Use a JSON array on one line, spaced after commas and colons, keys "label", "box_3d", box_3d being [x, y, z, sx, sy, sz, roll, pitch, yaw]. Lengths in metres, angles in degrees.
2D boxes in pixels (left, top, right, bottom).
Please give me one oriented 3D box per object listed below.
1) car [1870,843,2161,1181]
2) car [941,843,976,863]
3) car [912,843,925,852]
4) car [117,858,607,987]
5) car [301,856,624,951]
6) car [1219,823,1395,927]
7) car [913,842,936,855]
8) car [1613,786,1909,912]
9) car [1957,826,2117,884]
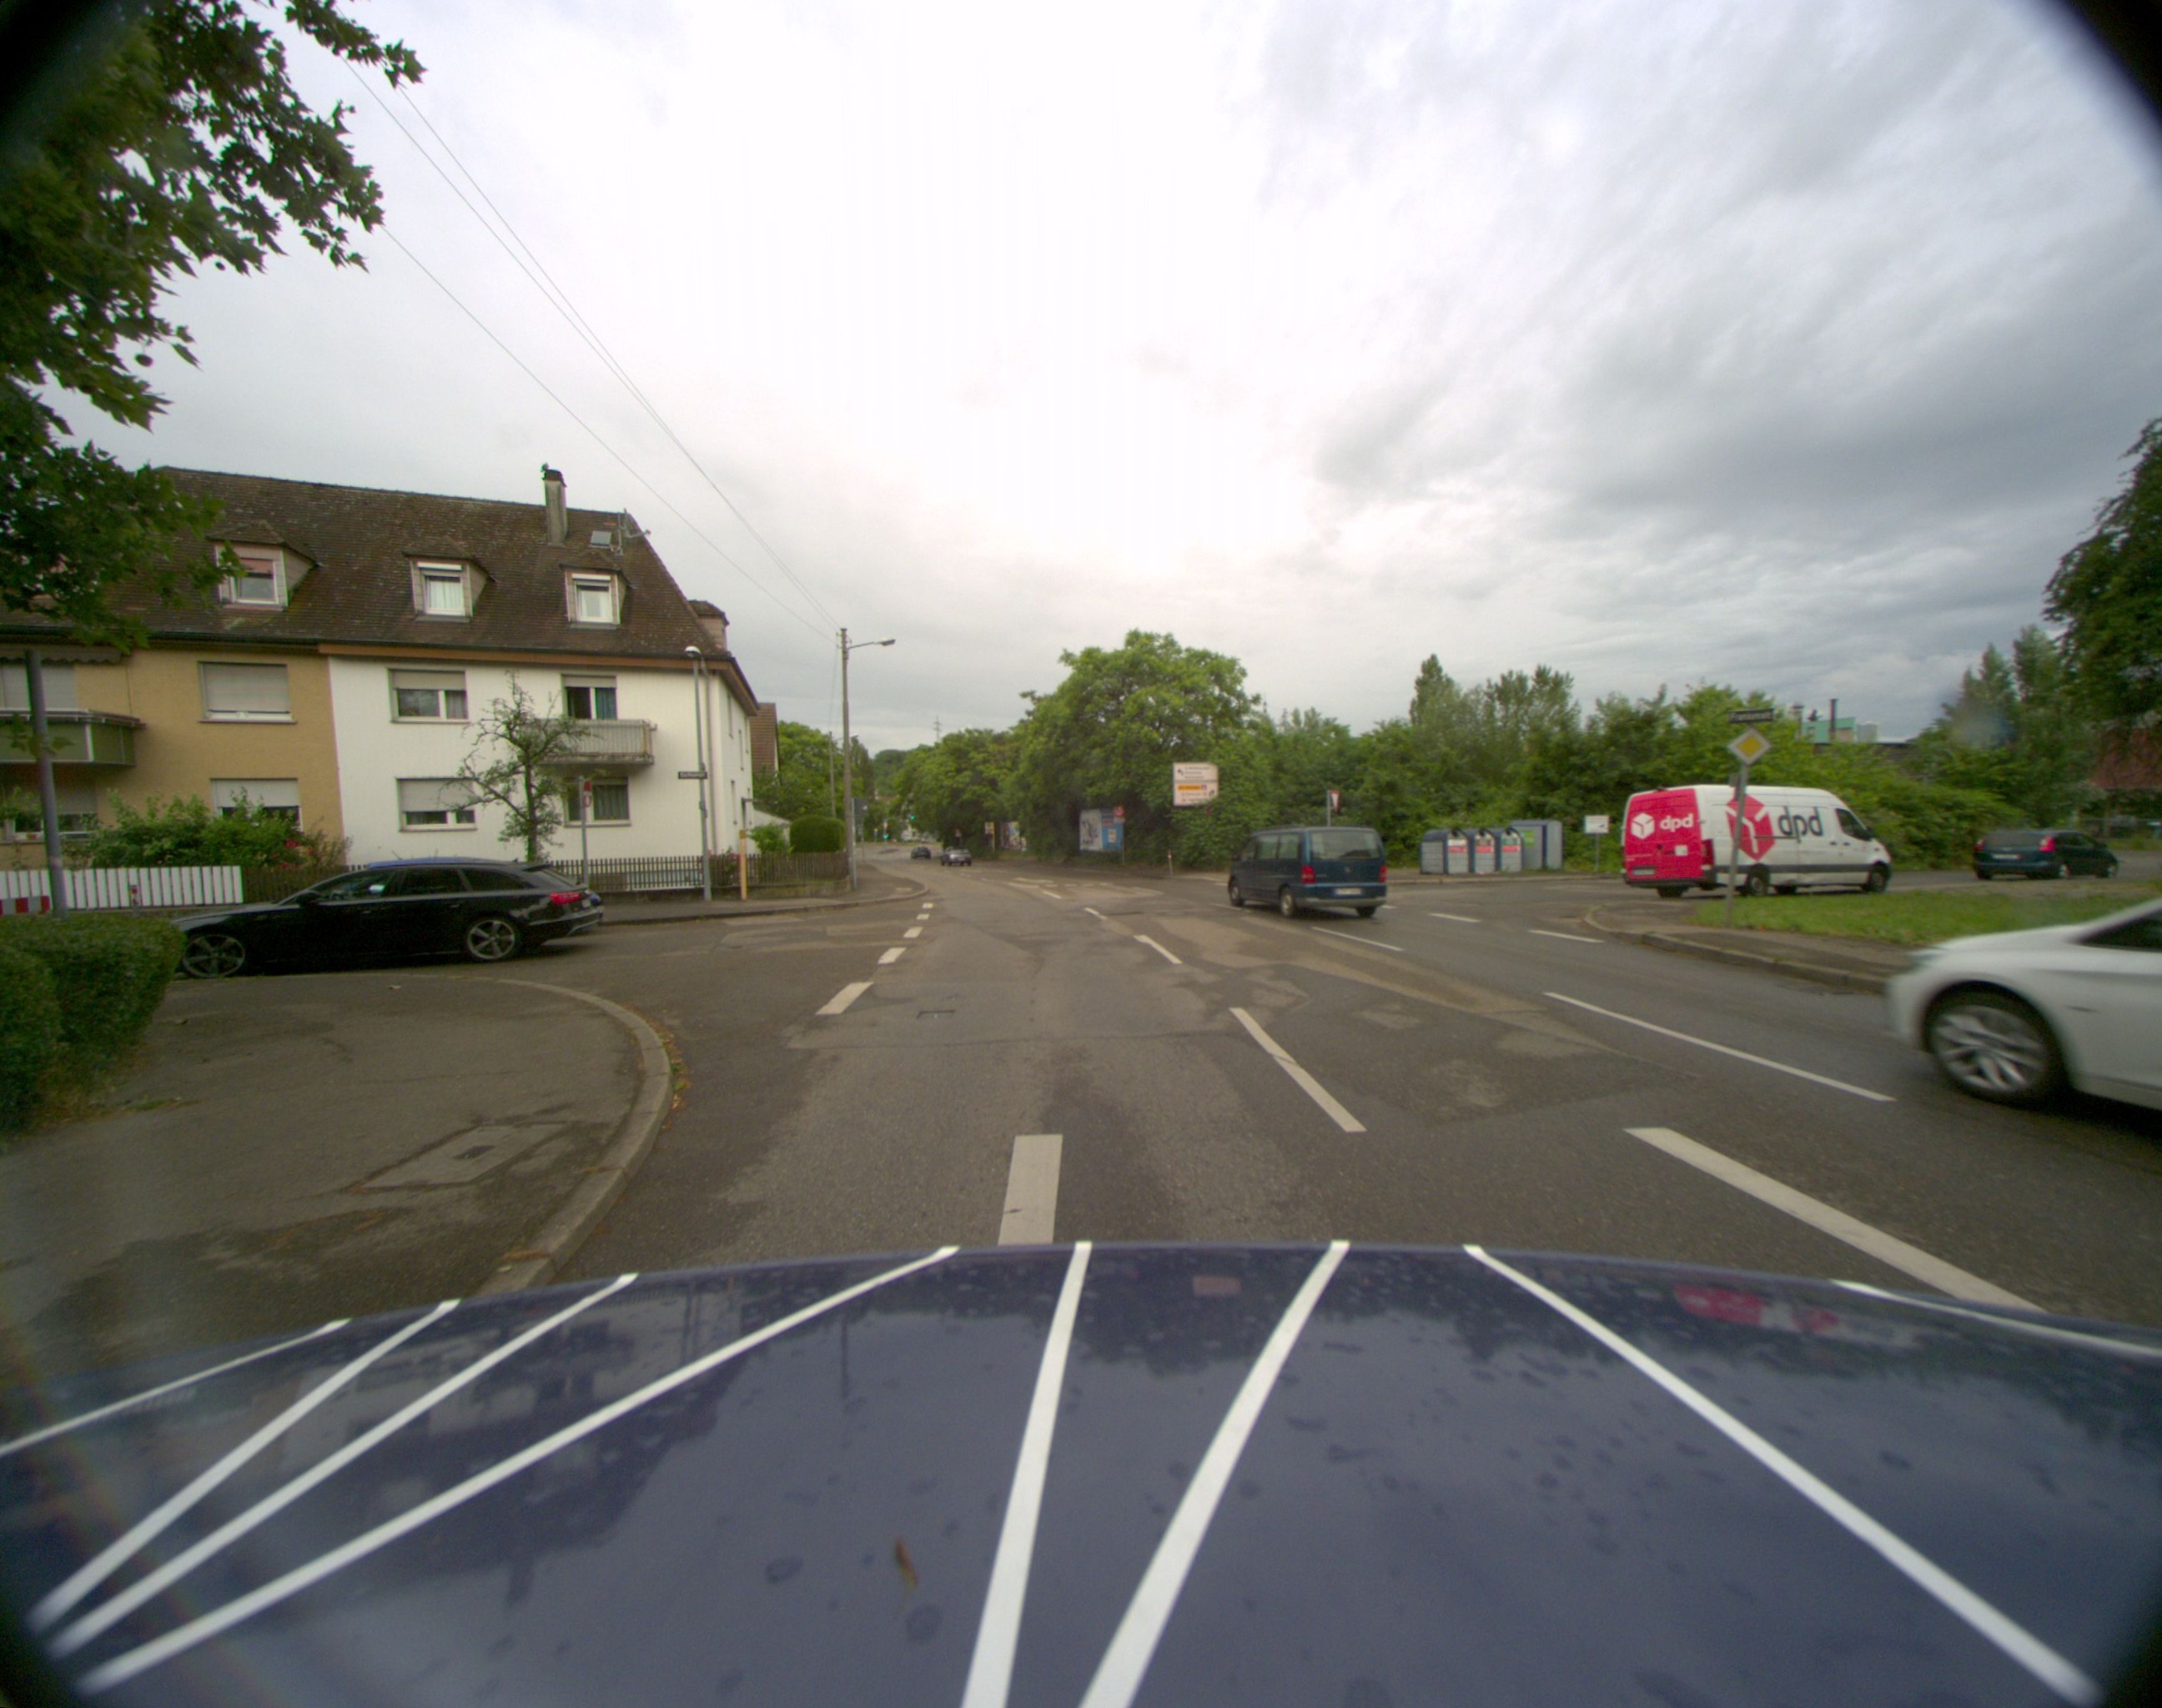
[{"label": "car", "box_3d": [6.031, 0.732, 2.751, 1.836, 1.569, 4.334, -2, 0, 1]}, {"label": "car", "box_3d": [-9.577, -0.121, 59.331, 1.903, 1.453, 3.992, -1, 1, -21]}, {"label": "car", "box_3d": [-26.851, -1.103, 125.368, 1.674, 1.460, 3.777, -1, 1, -6]}, {"label": "car", "box_3d": [-9.951, 0.852, 11.139, 4.823, 1.472, 1.882, -1, 1, -23]}, {"label": "car", "box_3d": [-10.988, 0.809, 13.890, 4.129, 1.472, 1.883, -1, 1, -17]}, {"label": "car", "box_3d": [4.726, 0.359, 16.736, 1.964, 1.920, 4.679, -1, 1, -8]}, {"label": "car", "box_3d": [-18.727, -0.700, 90.799, 2.002, 1.435, 4.765, 1, 0, -21]}, {"label": "car", "box_3d": [16.351, -0.223, 18.274, 6.829, 2.640, 2.259, -2, 2, -19]}, {"label": "car", "box_3d": [30.392, -0.025, 24.165, 4.256, 1.620, 1.996, -2, 2, -21]}]
